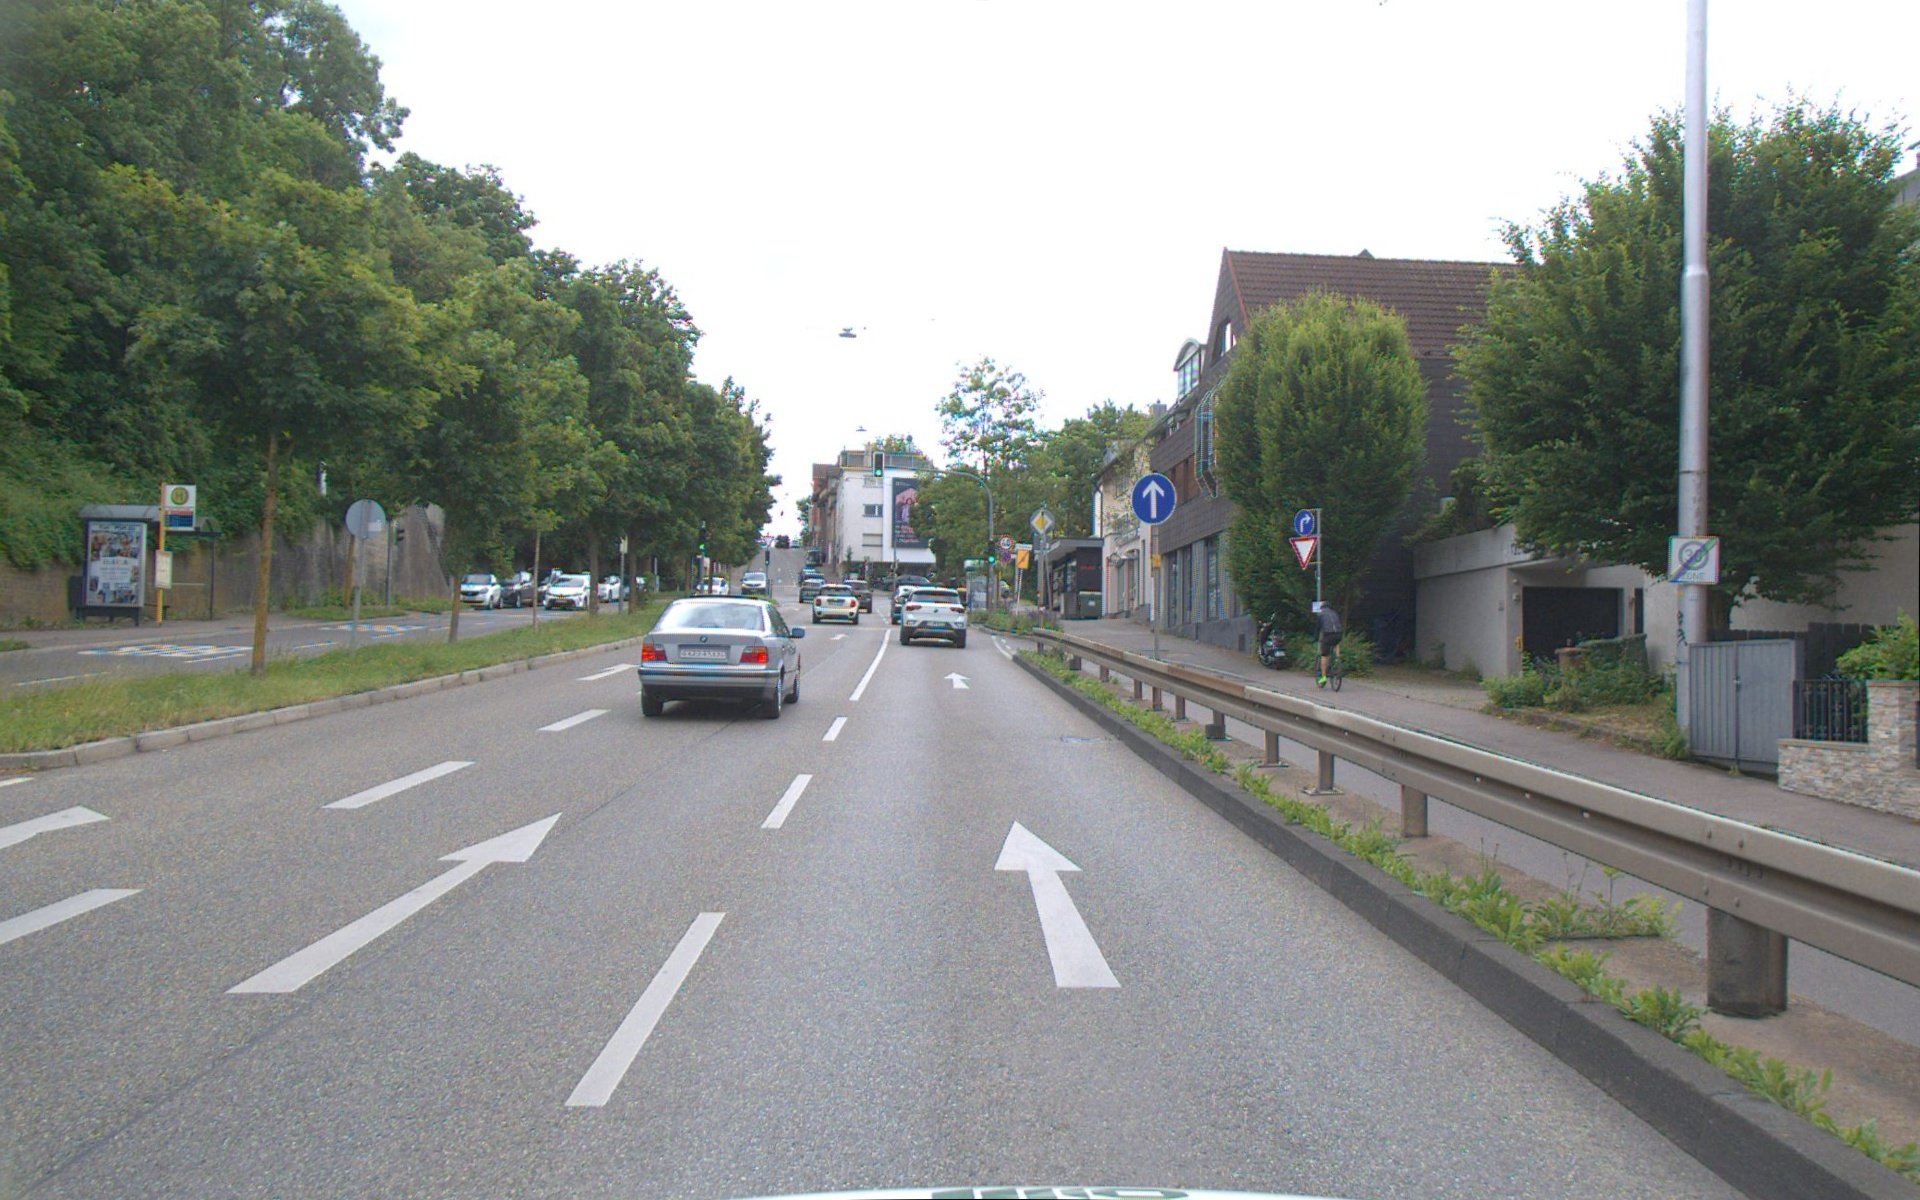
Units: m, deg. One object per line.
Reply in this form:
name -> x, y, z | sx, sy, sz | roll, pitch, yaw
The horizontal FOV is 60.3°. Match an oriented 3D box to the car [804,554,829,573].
car -> -16.346, -4.183, 188.959 | 2.459, 2.048, 5.180 | 2, 1, -1

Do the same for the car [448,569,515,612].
car -> -20.476, -0.444, 70.901 | 1.823, 1.699, 4.276 | 2, 1, -4

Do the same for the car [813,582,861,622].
car -> -4.517, 0.070, 61.201 | 1.688, 1.400, 3.454 | -2, 0, -3

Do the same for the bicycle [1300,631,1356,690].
bicycle -> 7.533, 1.219, 33.914 | 0.555, 1.081, 2.004 | -2, 1, -4

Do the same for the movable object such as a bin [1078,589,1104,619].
movable object such as a bin -> 6.565, 0.211, 83.027 | 1.171, 1.433, 0.711 | 2, 1, -2

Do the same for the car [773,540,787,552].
car -> -26.080, -7.802, 239.706 | 1.787, 1.534, 3.996 | 2, 1, -6

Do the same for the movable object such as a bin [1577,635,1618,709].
movable object such as a bin -> 11.519, 1.292, 29.889 | 0.484, 1.294, 0.538 | 2, 1, -1

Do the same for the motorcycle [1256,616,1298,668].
motorcycle -> 7.729, 1.007, 40.344 | 0.596, 1.182, 2.040 | 0, 1, -1

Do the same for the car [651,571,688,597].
car -> -18.736, -1.047, 106.721 | 1.823, 1.568, 4.276 | 2, 1, -4

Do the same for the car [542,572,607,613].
car -> -17.304, -0.360, 74.347 | 1.822, 1.699, 4.280 | 2, 1, 0

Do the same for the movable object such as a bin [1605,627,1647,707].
movable object such as a bin -> 12.094, 1.212, 30.039 | 0.484, 1.387, 0.538 | 2, 1, -1

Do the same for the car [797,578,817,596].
car -> -14.221, -1.233, 153.890 | 1.689, 1.610, 3.453 | -2, 0, -4

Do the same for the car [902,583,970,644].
car -> -0.679, 0.351, 45.148 | 1.761, 1.545, 3.455 | -2, 0, -2

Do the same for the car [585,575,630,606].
car -> -19.859, -0.556, 93.353 | 1.823, 1.621, 4.276 | 2, 1, -4

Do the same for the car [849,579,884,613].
car -> -4.855, -0.214, 85.431 | 1.689, 1.668, 3.453 | -2, 0, -4

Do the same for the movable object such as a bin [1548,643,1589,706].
movable object such as a bin -> 11.003, 1.345, 29.906 | 0.484, 1.076, 0.538 | 2, 1, -1

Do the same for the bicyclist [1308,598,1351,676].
bicyclist -> 7.539, 0.744, 33.788 | 0.555, 1.551, 0.958 | -2, 1, -4

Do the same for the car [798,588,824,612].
car -> -10.325, -0.005, 114.718 | 1.689, 1.610, 3.453 | -2, 0, -4

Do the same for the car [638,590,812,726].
car -> -2.809, 0.630, 20.629 | 1.601, 1.407, 4.618 | 2, 1, -2

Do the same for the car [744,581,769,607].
car -> -15.805, -0.474, 128.331 | 1.635, 1.898, 3.243 | -1, 1, -3

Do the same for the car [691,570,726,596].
car -> -16.304, -1.104, 107.266 | 1.823, 1.568, 4.276 | 2, 1, -4

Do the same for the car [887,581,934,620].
car -> -1.912, 0.021, 63.131 | 1.688, 1.400, 3.454 | -2, 0, -3

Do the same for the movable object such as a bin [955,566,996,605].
movable object such as a bin -> 0.797, -0.761, 85.876 | 1.857, 1.902, 1.525 | 2, 1, -11

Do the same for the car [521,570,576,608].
car -> -20.141, -0.568, 81.165 | 1.823, 1.699, 4.276 | 2, 1, -4
